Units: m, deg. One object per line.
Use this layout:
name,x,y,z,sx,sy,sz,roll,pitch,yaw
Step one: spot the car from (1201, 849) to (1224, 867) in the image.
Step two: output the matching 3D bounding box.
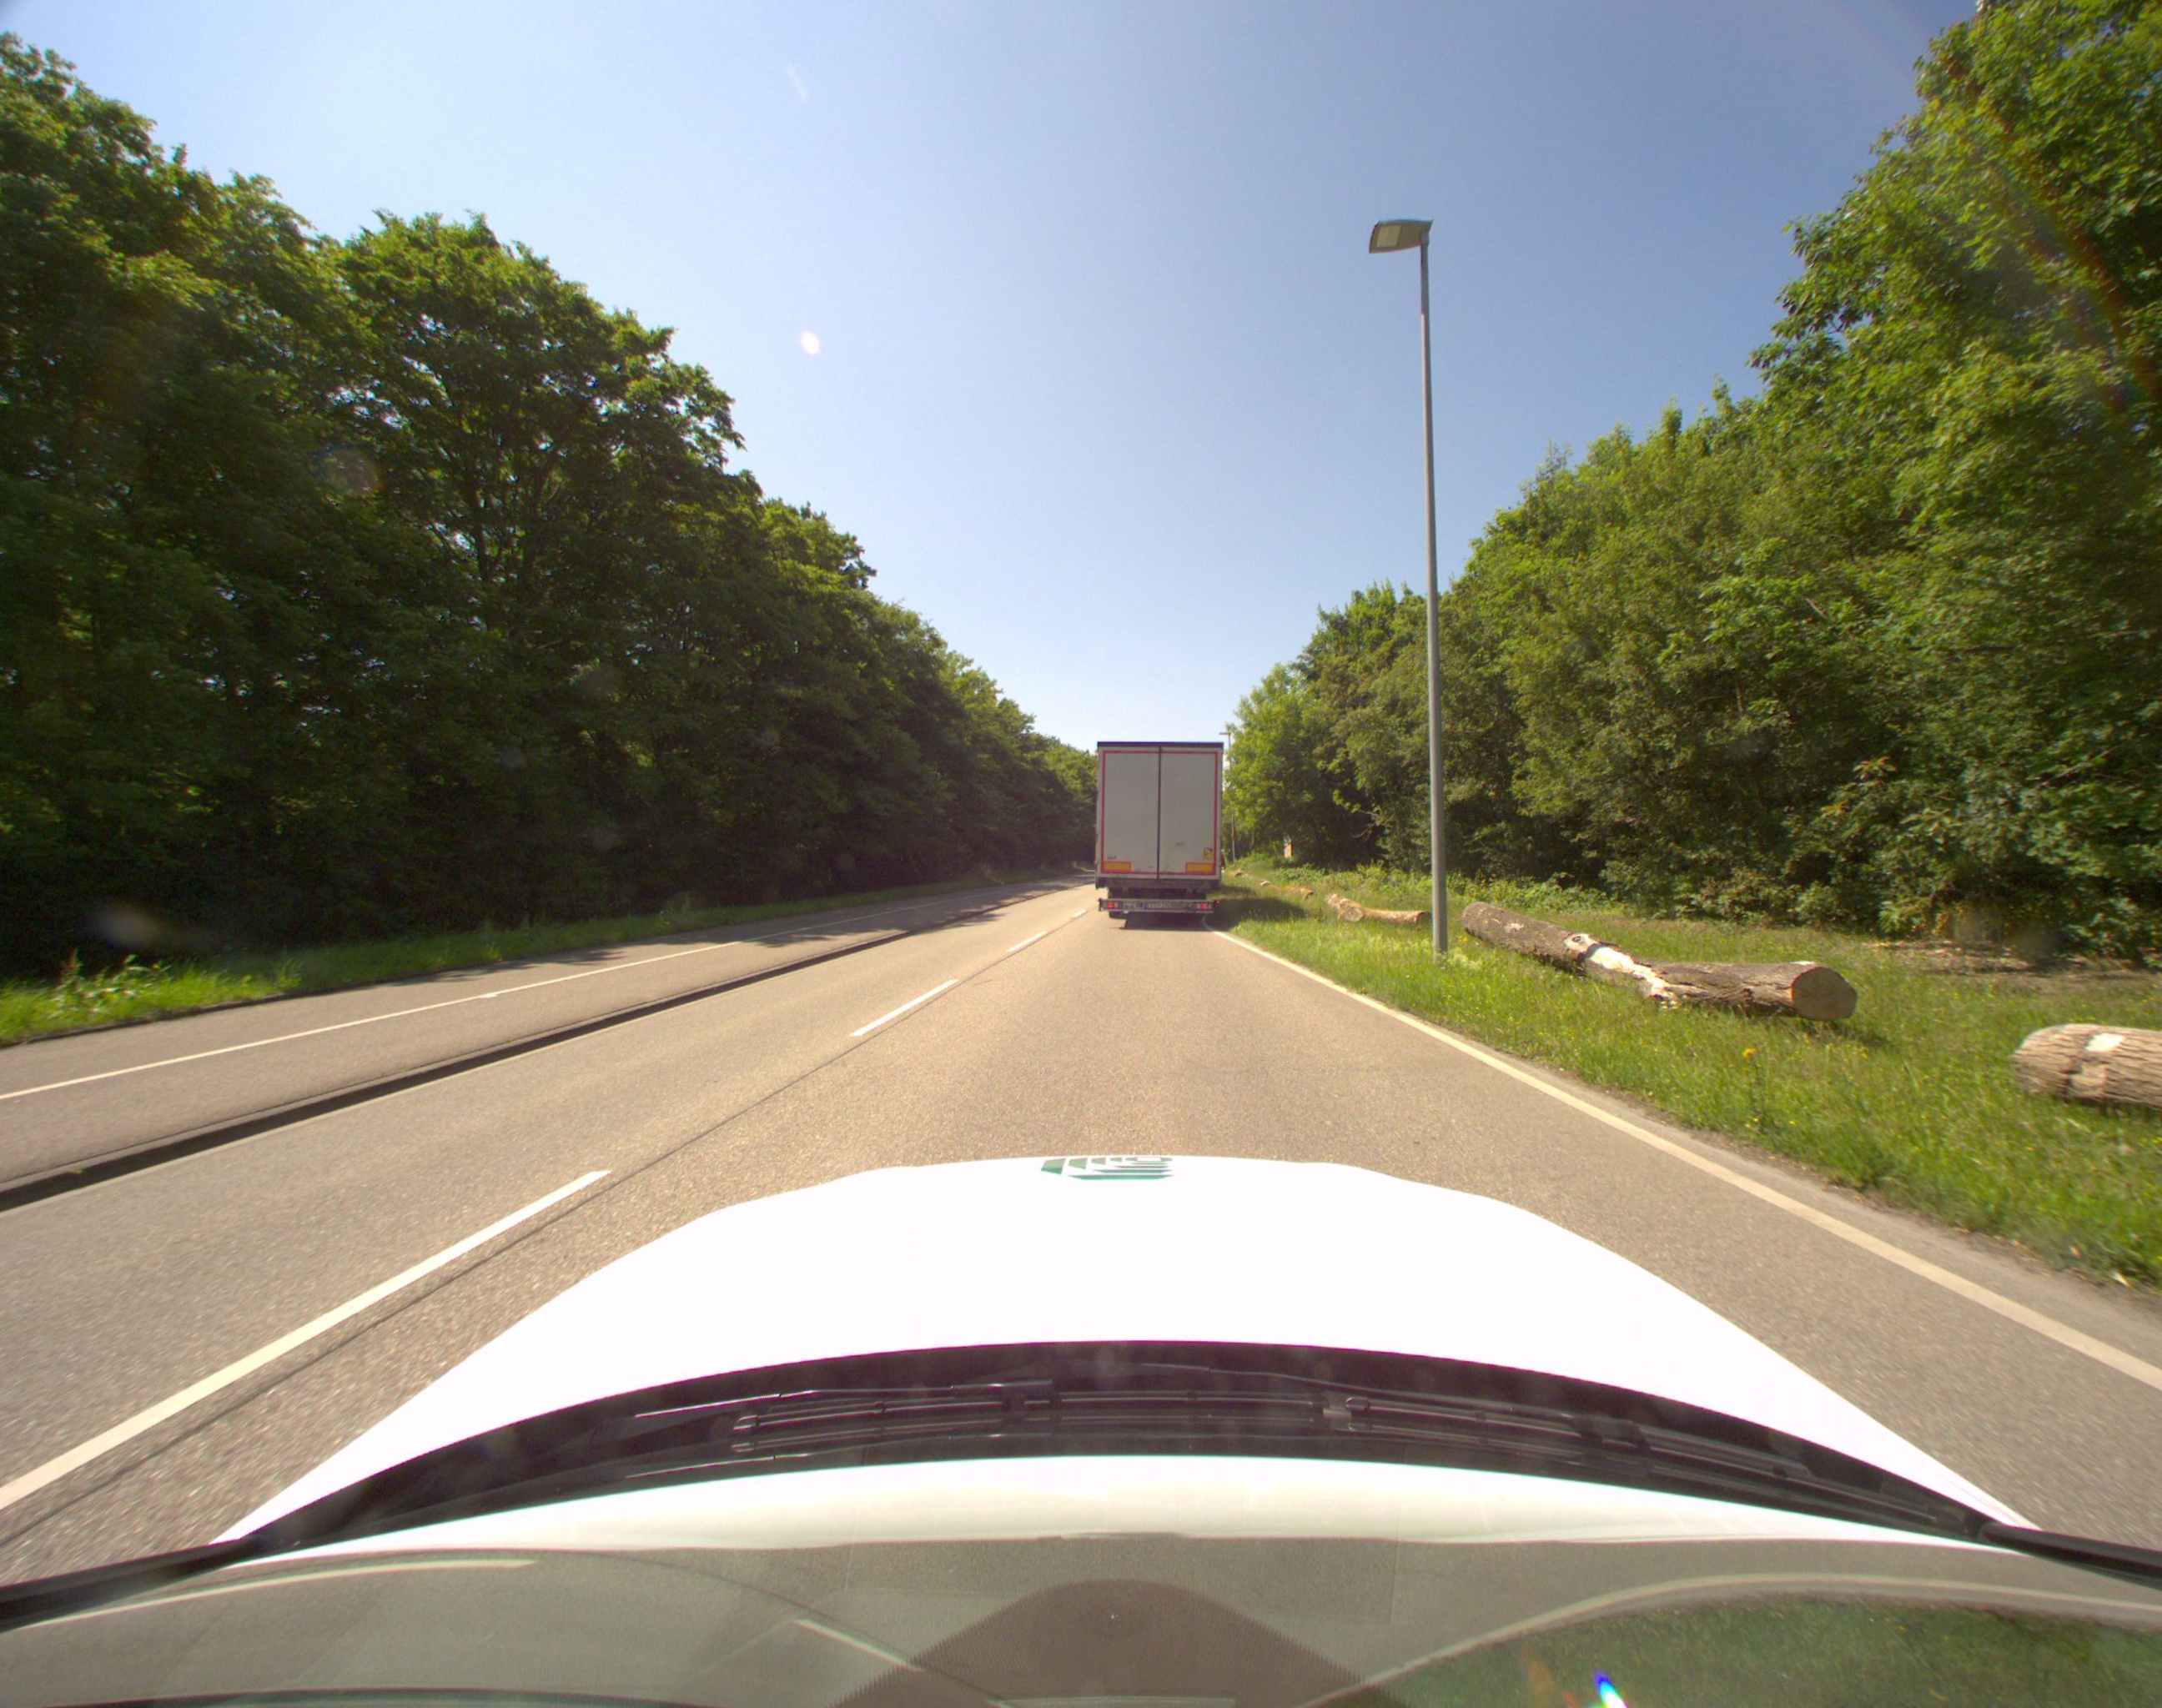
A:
car,11.206,0.329,69.516,1.701,1.530,3.858,-1,0,7

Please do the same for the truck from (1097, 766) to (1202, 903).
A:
truck,2.357,-0.620,28.599,3.063,4.069,7.968,-1,0,4

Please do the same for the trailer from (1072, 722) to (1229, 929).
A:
trailer,1.745,-0.568,21.095,3.063,4.069,9.820,-1,0,4
